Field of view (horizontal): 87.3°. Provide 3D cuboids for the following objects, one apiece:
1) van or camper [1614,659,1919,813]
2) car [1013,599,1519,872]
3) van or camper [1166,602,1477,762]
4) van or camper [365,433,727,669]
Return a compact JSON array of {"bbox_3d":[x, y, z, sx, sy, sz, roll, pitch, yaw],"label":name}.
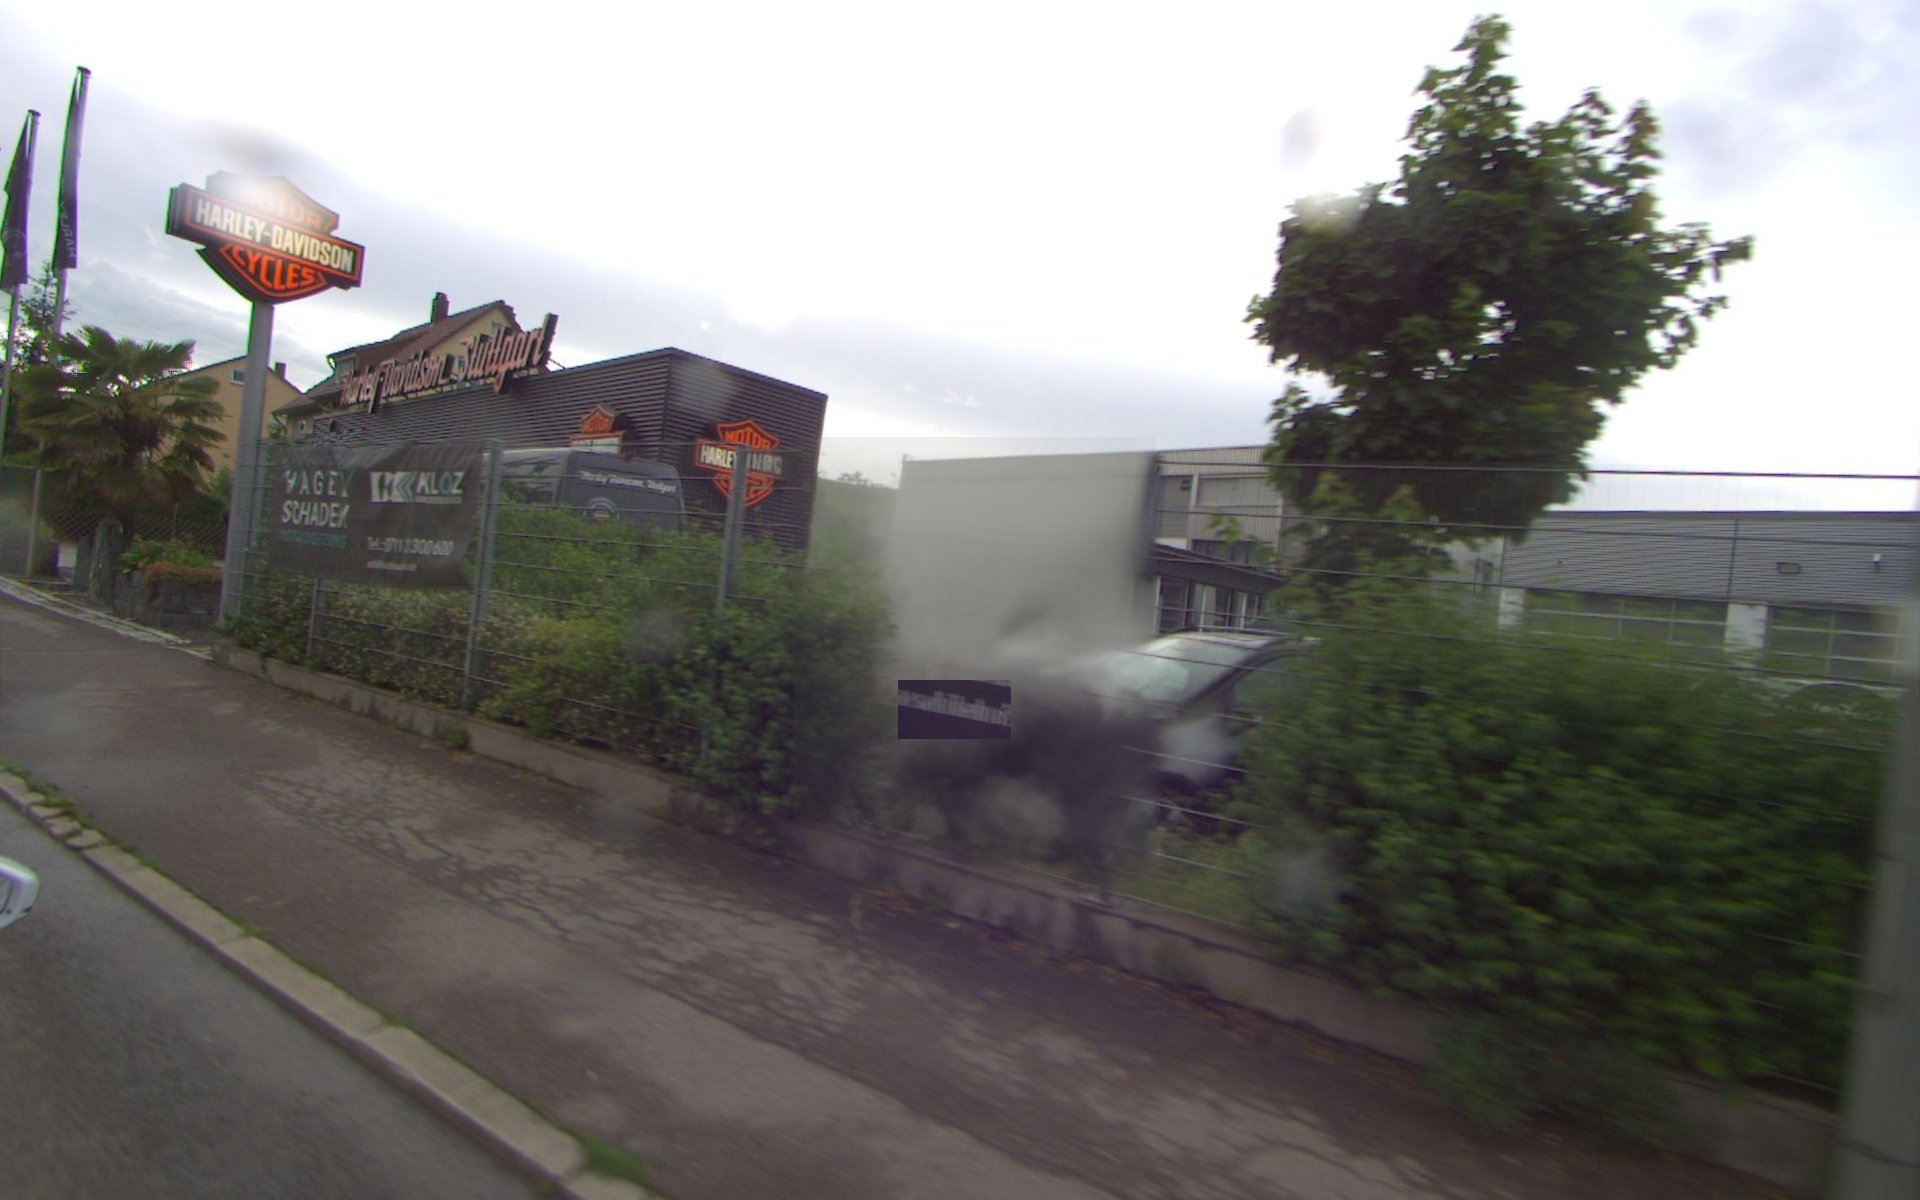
[{"bbox_3d":[14.933,2.420,17.626,1.989,1.960,5.365,10,-3,-43],"label":"van or camper"},{"bbox_3d":[2.741,1.195,8.852,4.070,1.861,1.761,7,0,-28],"label":"car"},{"bbox_3d":[7.636,1.670,21.763,5.667,2.588,2.327,6,-1,45],"label":"van or camper"},{"bbox_3d":[-6.222,-0.759,14.496,6.500,2.625,2.038,6,-1,42],"label":"van or camper"}]
